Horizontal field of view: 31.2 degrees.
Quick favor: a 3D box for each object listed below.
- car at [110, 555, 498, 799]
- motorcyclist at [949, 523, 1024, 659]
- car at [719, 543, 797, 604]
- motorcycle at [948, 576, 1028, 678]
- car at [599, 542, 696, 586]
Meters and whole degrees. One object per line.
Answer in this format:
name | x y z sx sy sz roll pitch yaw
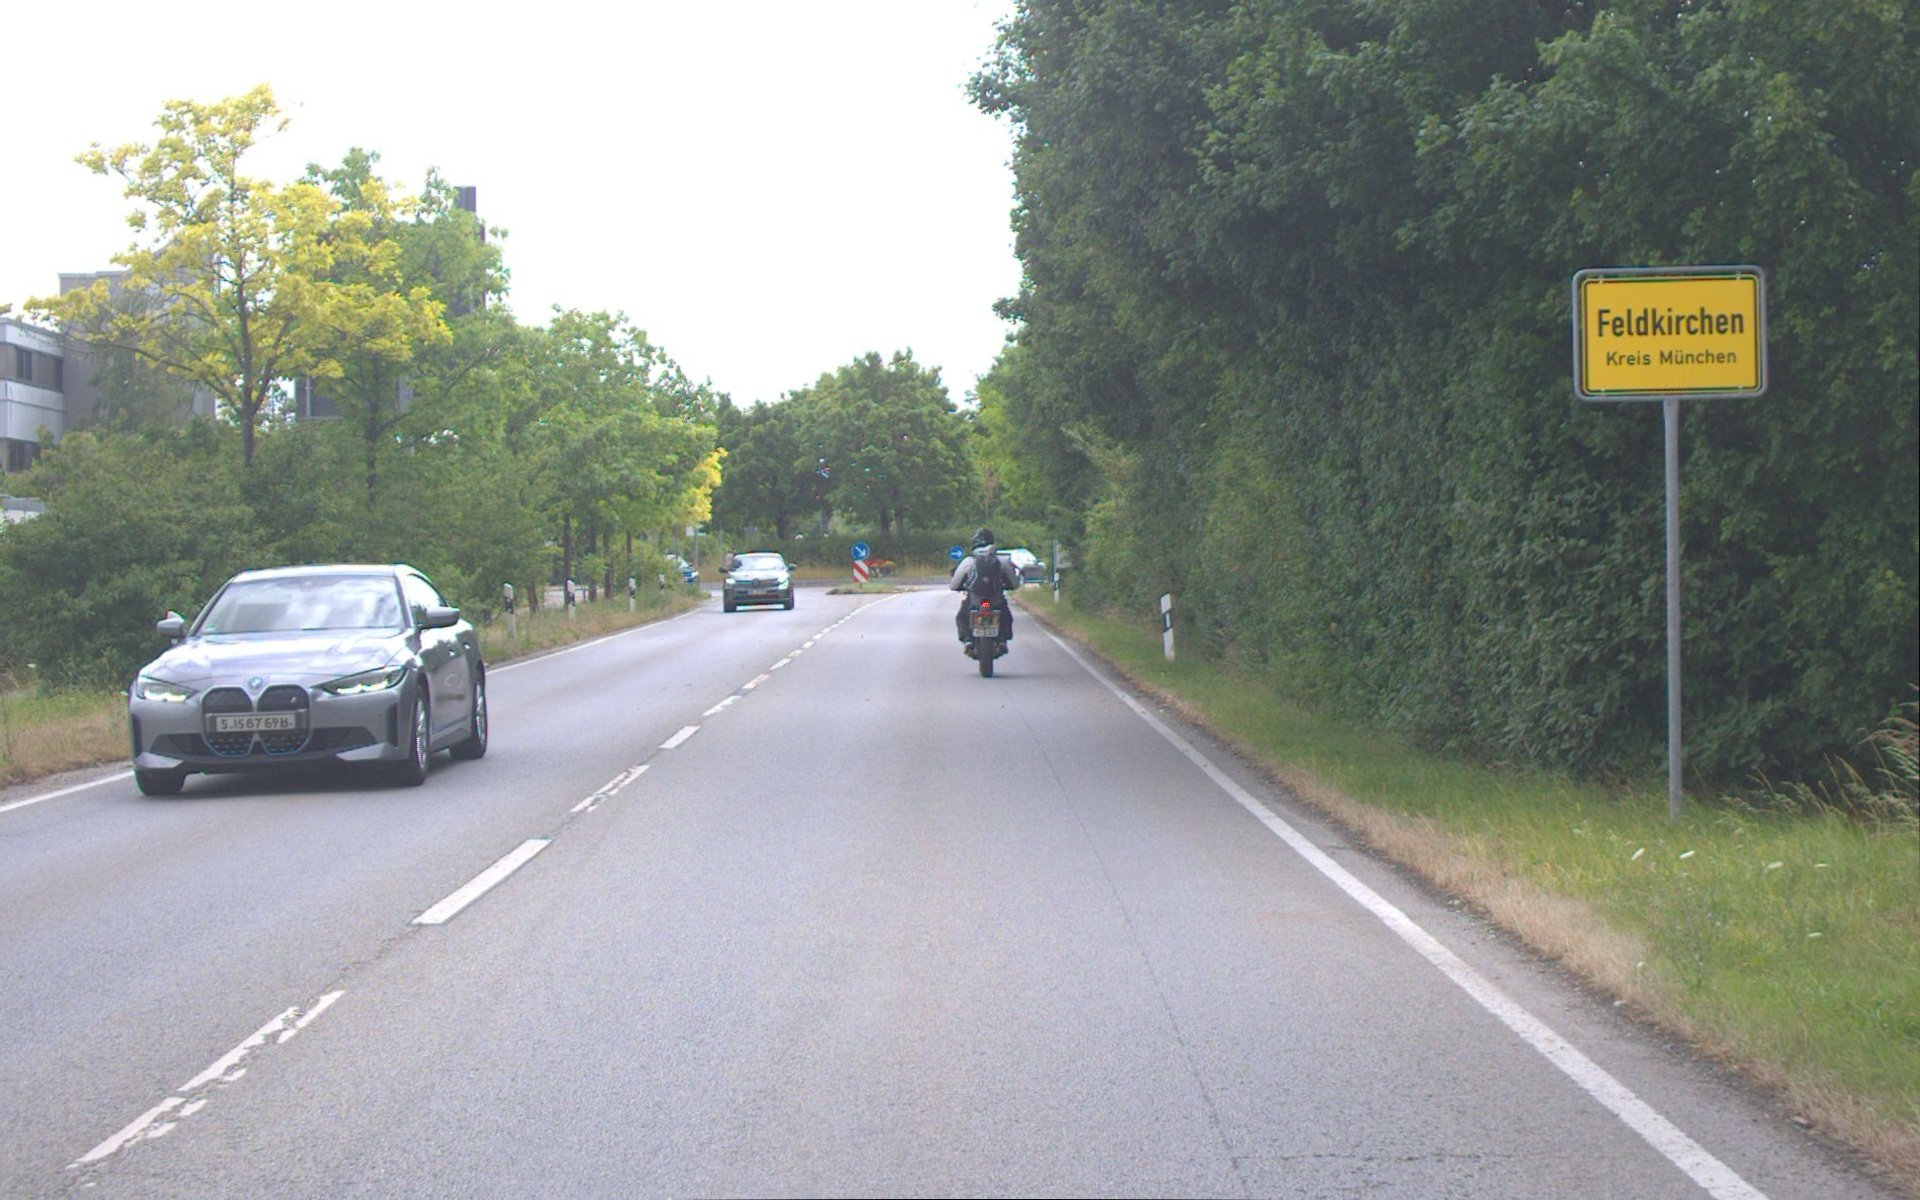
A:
car | -4.378 0.451 23.598 1.852 1.459 4.371 -1 1 -1
motorcyclist | 0.315 -0.114 41.606 0.861 1.618 1.191 -1 1 -1
car | -5.315 -0.718 90.810 1.815 1.489 4.204 -2 1 -1
motorcycle | 0.322 0.303 41.454 0.896 1.154 2.620 -1 1 -1
car | -12.684 -1.451 139.286 1.734 1.529 4.093 -5 1 -41
